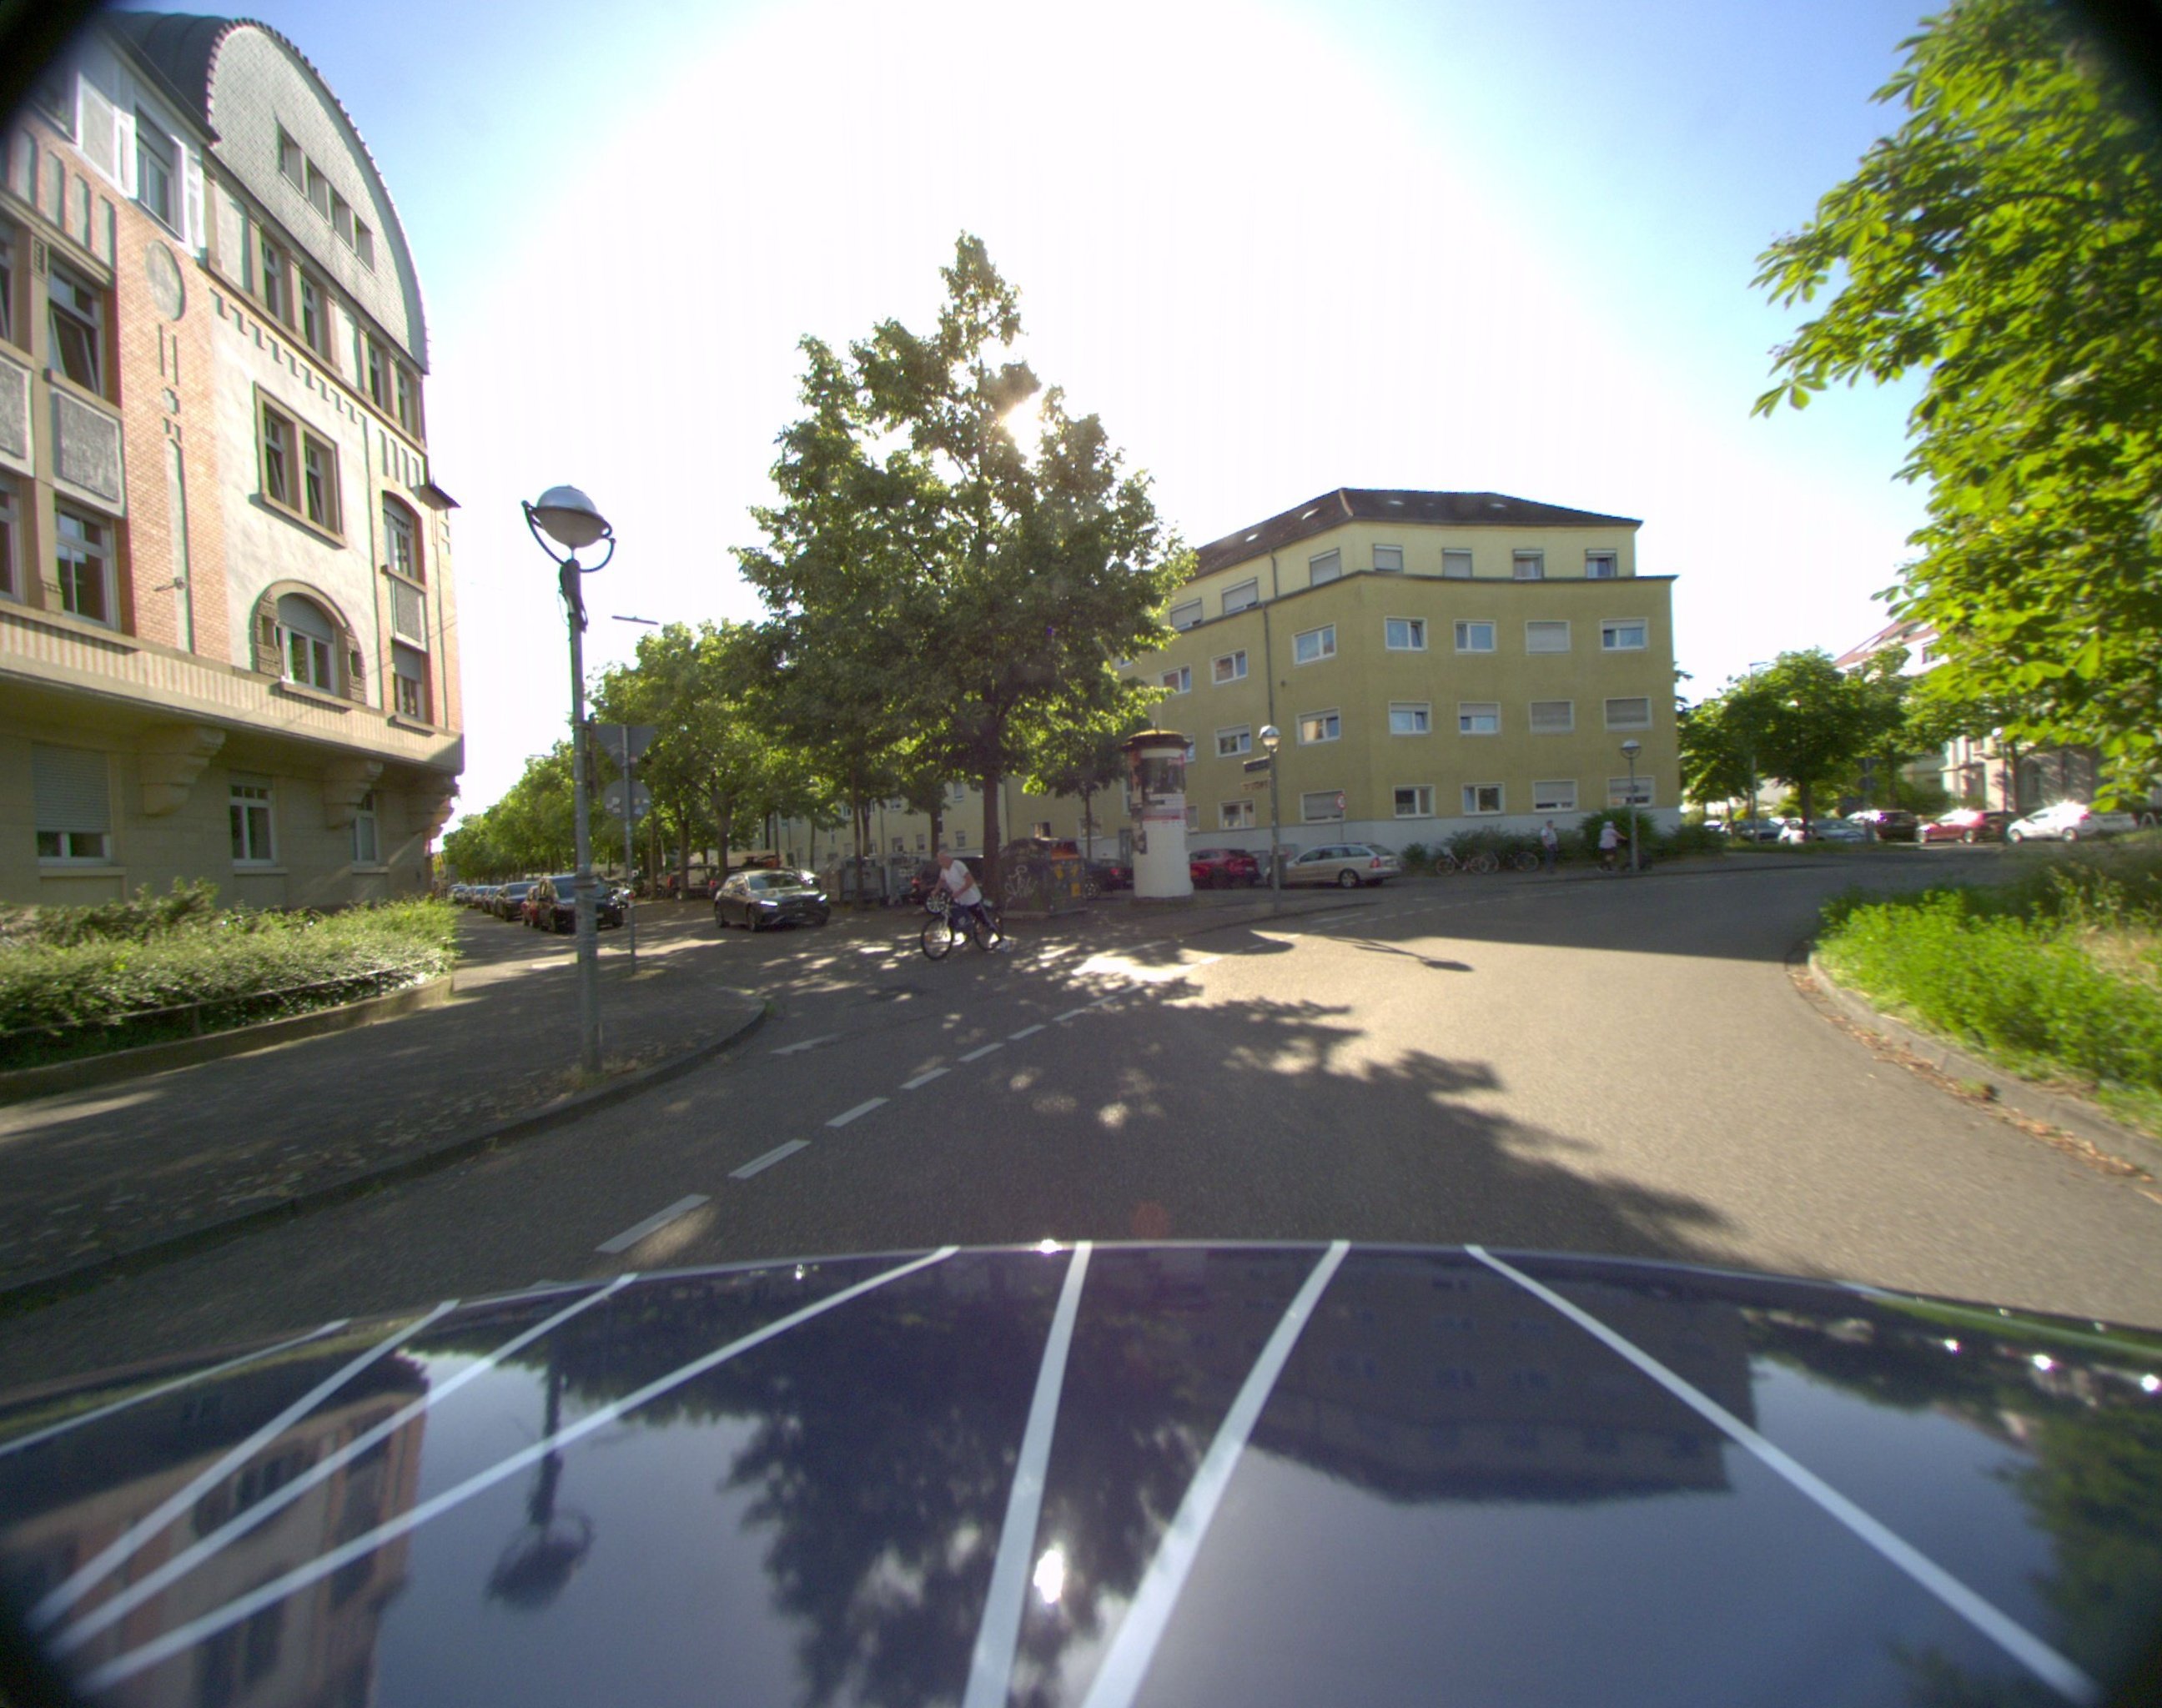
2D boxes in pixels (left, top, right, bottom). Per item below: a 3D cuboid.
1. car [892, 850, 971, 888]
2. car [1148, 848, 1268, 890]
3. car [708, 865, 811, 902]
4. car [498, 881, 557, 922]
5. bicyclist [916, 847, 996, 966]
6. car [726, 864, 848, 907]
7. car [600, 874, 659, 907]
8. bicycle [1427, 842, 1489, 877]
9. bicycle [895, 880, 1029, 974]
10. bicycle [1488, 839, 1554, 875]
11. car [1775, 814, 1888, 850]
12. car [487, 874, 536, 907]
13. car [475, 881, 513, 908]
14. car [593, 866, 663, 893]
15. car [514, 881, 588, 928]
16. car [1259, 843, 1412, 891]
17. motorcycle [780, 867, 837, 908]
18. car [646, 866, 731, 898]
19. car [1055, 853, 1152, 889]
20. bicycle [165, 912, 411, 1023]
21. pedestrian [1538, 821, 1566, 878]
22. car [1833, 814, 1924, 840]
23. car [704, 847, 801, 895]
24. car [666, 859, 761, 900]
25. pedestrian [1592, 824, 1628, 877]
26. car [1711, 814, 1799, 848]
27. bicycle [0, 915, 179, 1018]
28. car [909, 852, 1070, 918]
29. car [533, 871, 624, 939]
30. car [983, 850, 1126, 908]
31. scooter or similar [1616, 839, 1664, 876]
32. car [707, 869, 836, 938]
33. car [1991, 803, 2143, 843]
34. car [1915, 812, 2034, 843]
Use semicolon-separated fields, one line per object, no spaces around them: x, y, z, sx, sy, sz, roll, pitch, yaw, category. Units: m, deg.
-7.597;0.790;38.339;1.738;1.618;4.604;9;-8;-40;car
4.774;0.613;29.047;1.738;1.430;4.376;-3;0;-41;car
-14.896;1.352;35.371;3.998;1.444;1.823;-3;0;-3;car
-24.857;2.087;34.064;1.801;1.547;4.198;-6;2;-39;car
-1.899;0.771;11.521;0.763;1.686;0.814;-2;1;45;bicyclist
-11.471;1.201;29.857;3.998;1.433;1.823;-3;0;-3;car
-22.451;1.785;37.725;1.801;1.427;4.198;-4;1;-39;car
12.827;0.188;25.861;1.795;1.101;0.501;-3;0;38;bicycle
-1.790;1.066;11.632;0.763;1.191;1.873;-2;1;45;bicycle
14.548;0.093;25.150;1.796;1.101;0.501;-3;0;24;bicycle
32.813;-0.923;33.390;1.800;1.403;4.005;-4;0;16;car
-30.749;1.958;40.979;1.801;1.547;4.198;-6;2;-39;car
-39.658;2.721;51.301;1.801;1.547;4.198;-6;2;-39;car
-33.220;1.853;55.809;4.002;1.677;1.821;-3;0;-17;car
-19.810;1.819;28.319;1.801;1.445;4.198;-6;2;-39;car
8.306;0.457;25.107;1.736;1.403;4.478;-3;0;-41;car
-9.736;1.177;27.187;0.726;1.340;1.803;-3;0;31;motorcycle
-23.326;1.665;45.232;3.998;1.624;1.823;-3;0;-3;car
0.933;0.774;33.740;1.738;1.430;4.376;-3;0;-41;car
-9.561;1.336;9.257;1.944;1.114;0.687;-2;0;-17;bicycle
14.500;-0.141;23.399;0.607;1.684;0.555;-3;4;29;pedestrian
42.908;-1.418;40.990;1.796;1.248;3.723;-3;0;18;car
-18.671;0.936;43.389;4.594;2.476;1.985;-3;0;-8;car
-19.278;1.328;39.975;3.998;1.887;1.823;-3;0;-3;car
15.772;-0.101;22.667;0.696;1.515;0.651;-3;1;20;pedestrian
34.651;-1.138;39.215;1.797;1.566;4.005;-4;0;16;car
-13.639;1.503;10.258;1.801;1.205;0.594;-2;0;-18;bicycle
-2.321;0.775;20.054;3.997;1.464;1.759;-3;0;-1;car
-15.783;1.533;23.773;1.801;1.757;4.198;-6;2;-39;car
-0.780;0.707;22.493;3.998;1.464;1.759;-3;0;-2;car
16.612;0.107;22.601;0.897;1.017;0.919;-3;2;20;scooter or similar
-7.944;1.198;19.282;1.801;1.427;4.198;-4;1;-39;car
39.313;-1.191;30.460;1.796;1.404;4.005;-3;0;19;car
40.594;-1.180;34.661;1.796;1.248;3.723;-3;0;18;car
